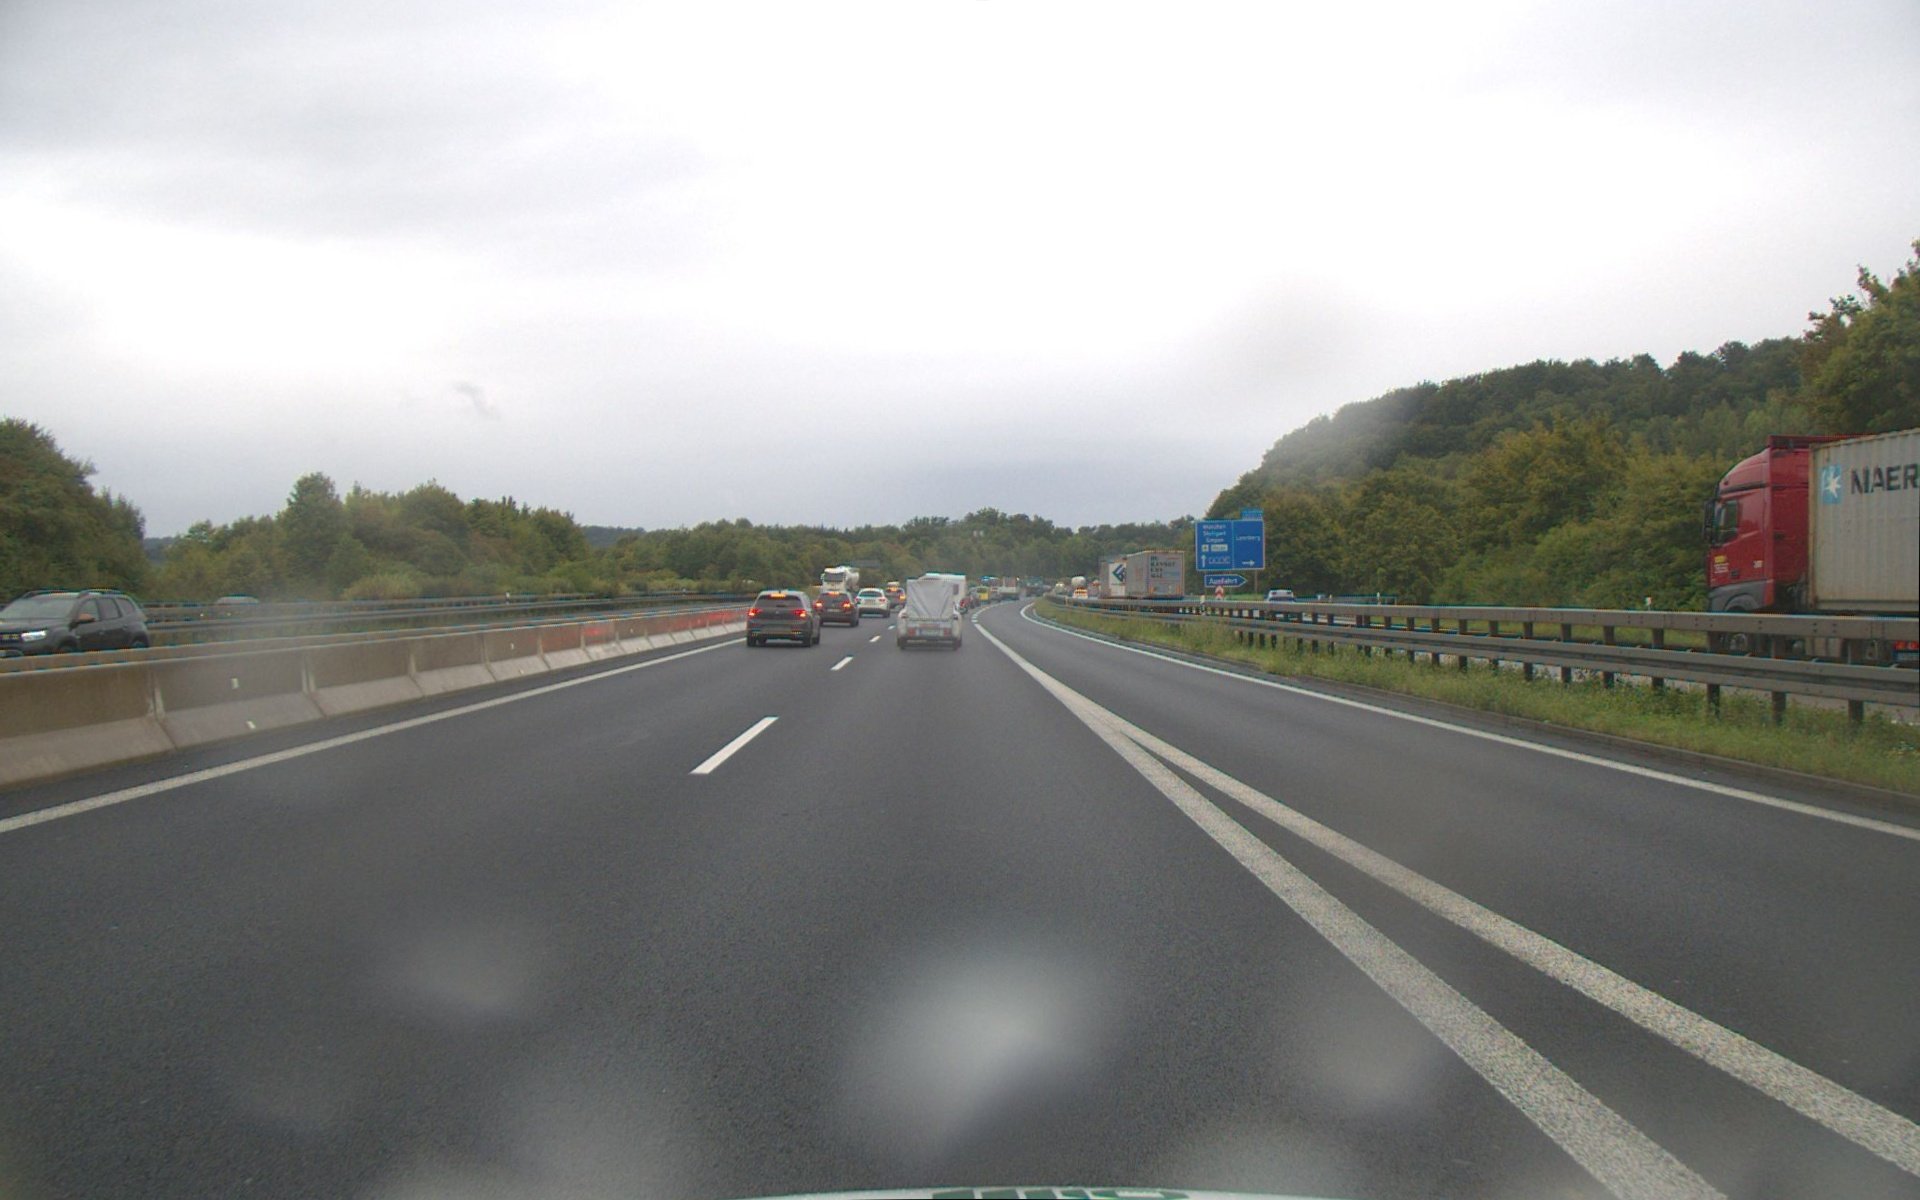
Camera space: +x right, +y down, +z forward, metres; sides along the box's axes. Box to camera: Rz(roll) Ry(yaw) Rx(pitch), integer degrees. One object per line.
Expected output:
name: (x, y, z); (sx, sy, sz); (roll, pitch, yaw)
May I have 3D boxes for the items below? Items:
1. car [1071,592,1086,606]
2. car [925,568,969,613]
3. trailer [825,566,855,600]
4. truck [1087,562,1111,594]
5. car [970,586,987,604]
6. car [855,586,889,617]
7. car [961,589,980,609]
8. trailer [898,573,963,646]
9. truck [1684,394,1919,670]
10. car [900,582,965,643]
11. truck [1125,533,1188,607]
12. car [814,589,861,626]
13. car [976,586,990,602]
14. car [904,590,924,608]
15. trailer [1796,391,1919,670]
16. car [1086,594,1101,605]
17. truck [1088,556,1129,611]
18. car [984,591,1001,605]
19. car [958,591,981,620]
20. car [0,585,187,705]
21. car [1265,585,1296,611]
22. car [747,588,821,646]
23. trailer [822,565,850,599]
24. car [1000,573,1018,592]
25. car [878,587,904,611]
car: (13.688, -0.113, 190.696); (1.641, 1.481, 4.001); (1, 0, 3)
car: (-0.745, -0.577, 101.050); (2.455, 2.630, 5.700); (1, 0, 1)
trailer: (-13.813, -1.907, 190.512); (2.582, 3.801, 10.811); (1, 0, 0)
truck: (21.716, -3.344, 258.742); (3.586, 4.748, 13.039); (1, 0, 4)
car: (1.899, -0.480, 169.874); (1.641, 1.844, 4.001); (1, 0, 1)
car: (-5.013, 0.085, 94.734); (1.739, 1.669, 4.042); (1, 0, -1)
car: (1.012, -0.086, 153.486); (1.641, 1.844, 4.001); (1, 0, 1)
trailer: (-0.755, 0.243, 44.205); (1.641, 1.844, 3.999); (1, 0, 0)
truck: (14.656, -0.963, 26.986); (2.564, 3.952, 6.387); (1, 0, -4)
car: (-0.767, 0.344, 47.898); (1.781, 1.644, 4.777); (1, 0, 0)
truck: (13.330, -1.934, 113.491); (3.149, 4.748, 13.035); (1, 0, 2)
car: (-5.129, 0.313, 69.557); (1.729, 1.481, 3.999); (1, 0, -1)
car: (2.758, -0.740, 196.927); (1.641, 1.844, 4.001); (1, 0, 1)
car: (-4.387, -0.092, 158.617); (1.739, 1.669, 4.044); (1, 0, 1)
trailer: (15.077, -0.974, 20.394); (2.552, 3.962, 12.481); (1, 0, -3)
car: (17.030, -0.058, 211.831); (1.641, 1.481, 4.000); (1, 0, 1)
truck: (13.573, -1.448, 152.175); (3.148, 4.748, 13.036); (1, 0, 2)
car: (4.197, -0.281, 212.290); (1.994, 1.712, 4.002); (1, 0, 5)
car: (0.728, 0.407, 124.872); (1.641, 2.103, 4.001); (1, 0, 1)
car: (-16.569, 0.761, 30.880); (1.953, 2.049, 4.981); (1, 0, -1)
car: (18.902, -0.109, 97.692); (1.640, 1.481, 4.003); (1, 0, 8)
car: (-4.733, 0.438, 44.926); (1.642, 1.481, 3.999); (1, 0, -1)
trailer: (-13.823, -1.966, 184.697); (2.582, 3.780, 6.491); (1, 0, 0)
car: (7.139, -2.478, 240.074); (2.463, 2.619, 5.314); (1, 0, 4)
car: (-4.910, -0.061, 118.794); (1.739, 1.669, 4.042); (1, 0, -1)
